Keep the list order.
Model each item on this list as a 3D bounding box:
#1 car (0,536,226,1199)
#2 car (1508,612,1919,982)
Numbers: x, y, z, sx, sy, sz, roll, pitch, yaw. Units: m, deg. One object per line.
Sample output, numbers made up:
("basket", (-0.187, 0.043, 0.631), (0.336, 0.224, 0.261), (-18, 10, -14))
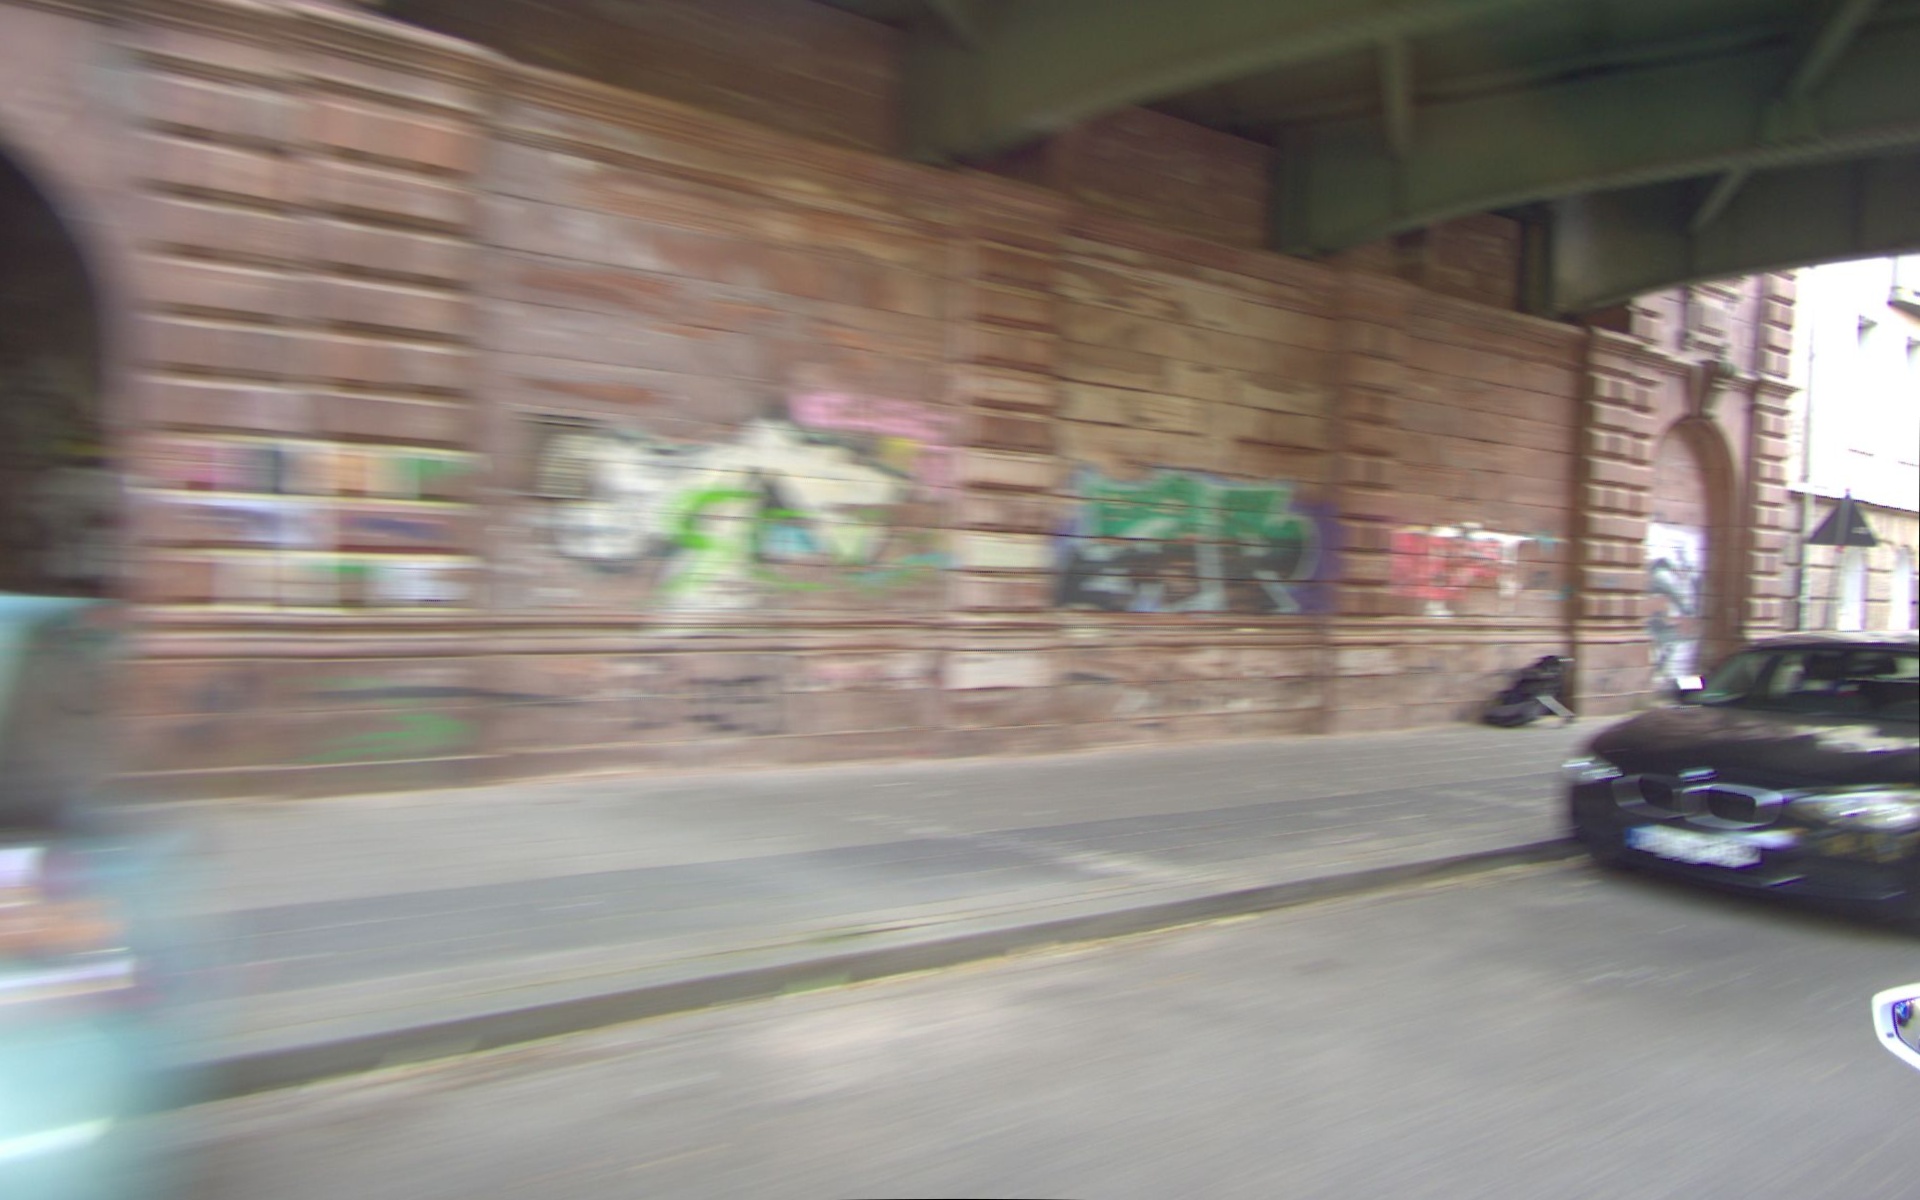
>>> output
("car", (-3.240, 0.637, 1.020), (3.872, 1.568, 1.586), (2, 0, -32))
("car", (5.222, 0.863, 5.844), (3.951, 1.483, 1.709), (1, 0, -29))
